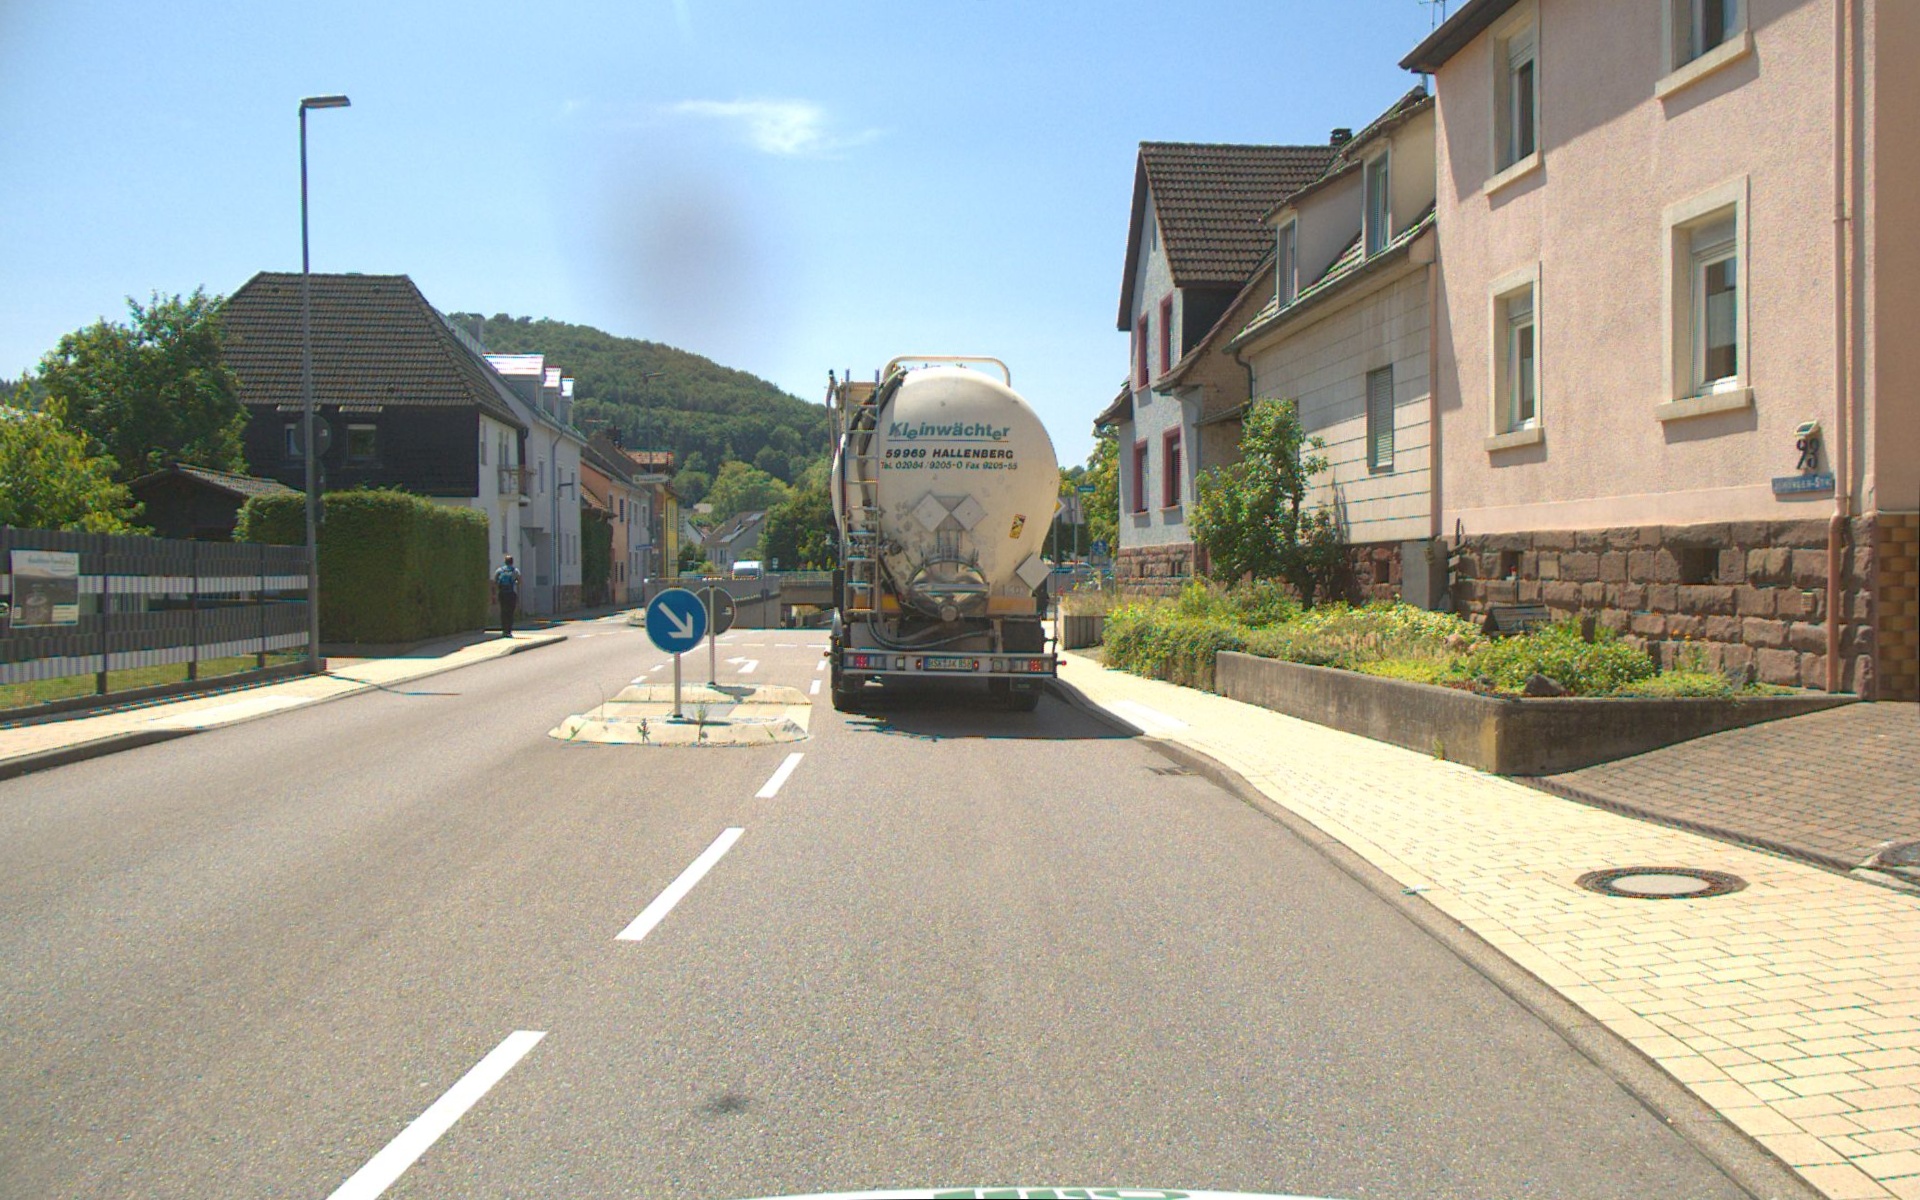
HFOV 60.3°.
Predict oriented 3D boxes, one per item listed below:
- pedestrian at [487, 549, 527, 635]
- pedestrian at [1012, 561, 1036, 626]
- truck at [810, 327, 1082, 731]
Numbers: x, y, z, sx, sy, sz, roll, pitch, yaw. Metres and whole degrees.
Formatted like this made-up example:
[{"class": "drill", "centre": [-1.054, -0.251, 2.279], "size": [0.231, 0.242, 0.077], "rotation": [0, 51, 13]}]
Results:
[{"class": "pedestrian", "centre": [-9.978, -0.166, 36.444], "size": [0.699, 1.855, 0.896], "rotation": [1, -1, -9]}, {"class": "pedestrian", "centre": [1.702, -0.170, 43.933], "size": [0.559, 1.723, 0.721], "rotation": [1, -1, -1]}, {"class": "truck", "centre": [-0.623, -0.791, 22.433], "size": [2.697, 4.127, 10.876], "rotation": [0, 1, -6]}]
